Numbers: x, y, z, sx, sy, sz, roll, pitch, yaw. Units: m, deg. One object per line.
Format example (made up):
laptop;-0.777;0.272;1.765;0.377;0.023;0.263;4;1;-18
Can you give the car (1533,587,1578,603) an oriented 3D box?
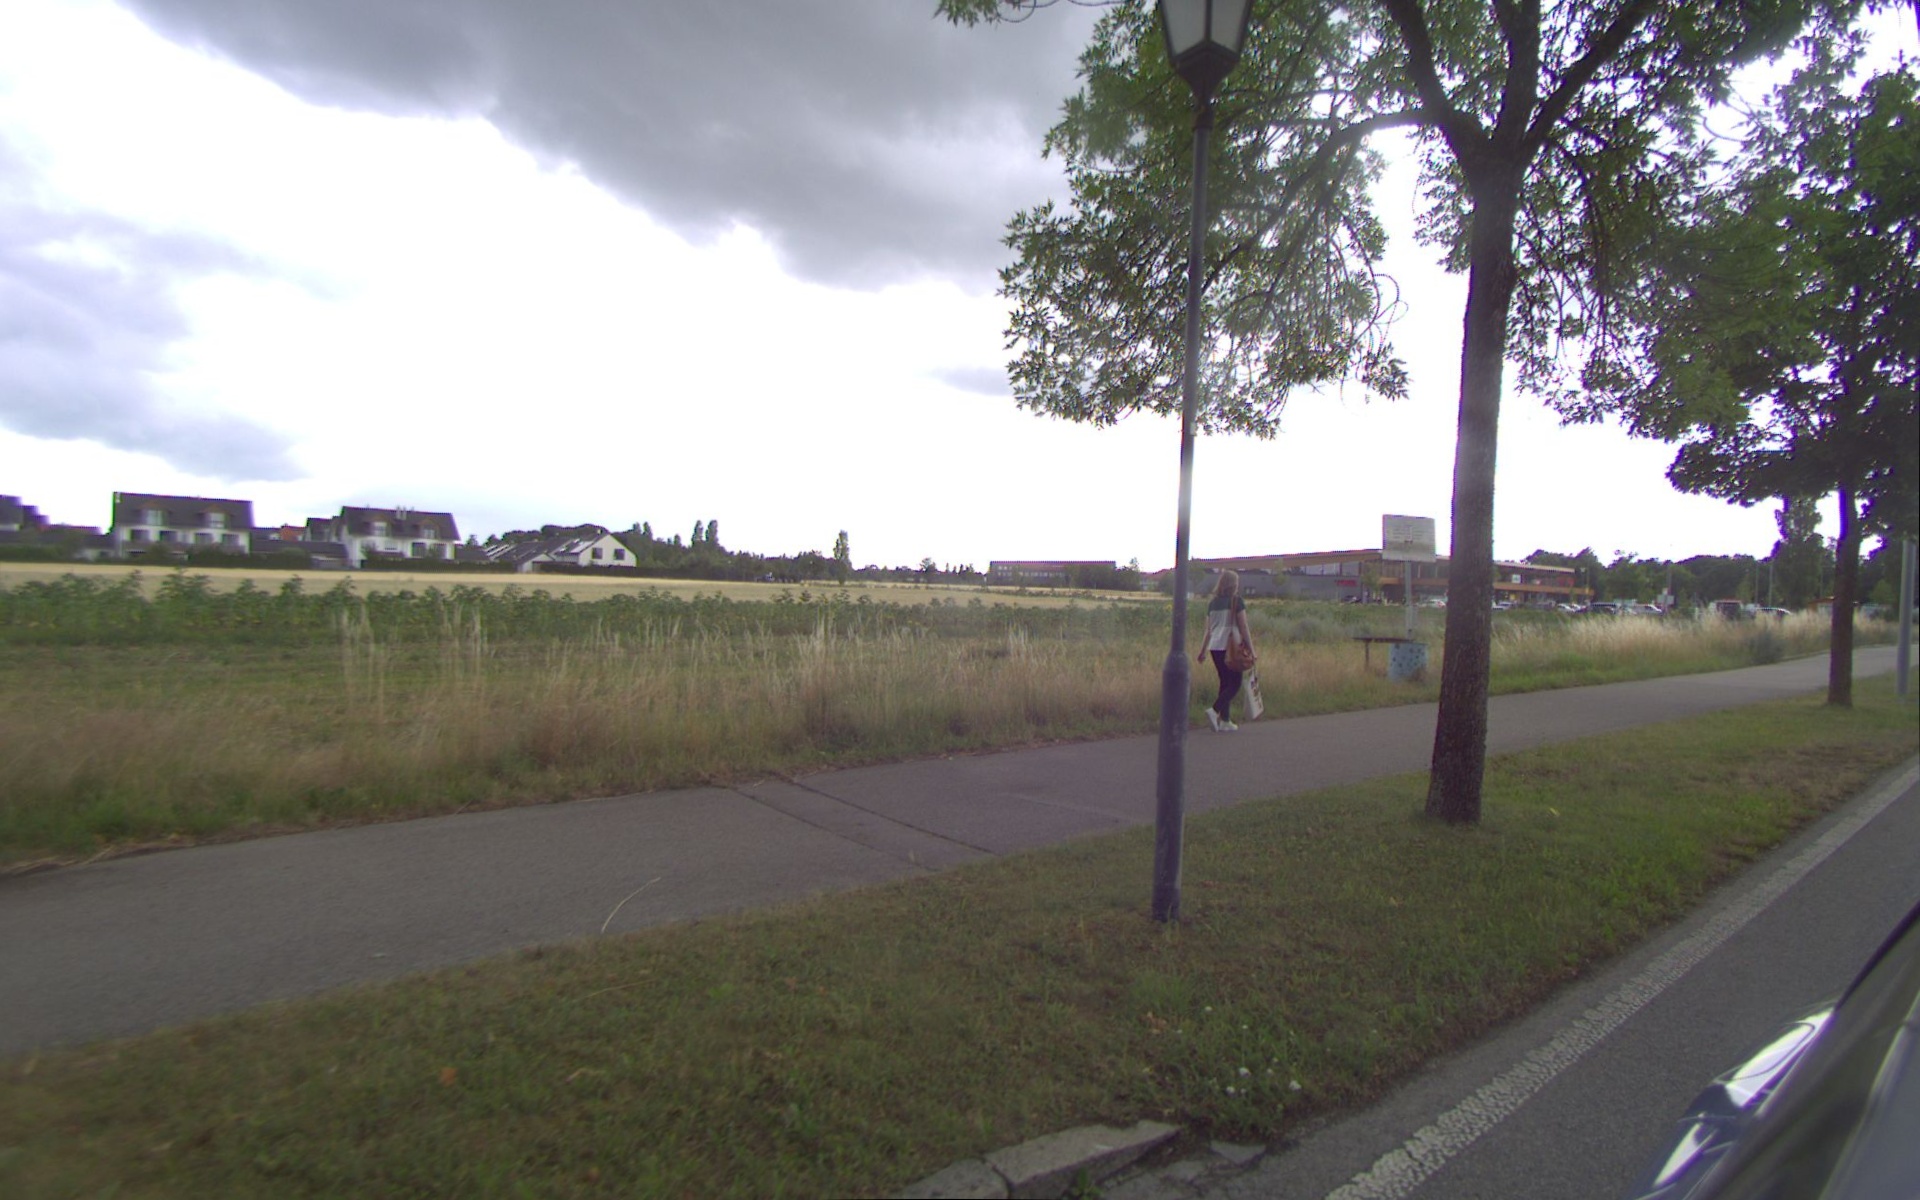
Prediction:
car;77.927;-0.590;132.459;4.842;2.039;1.968;0;0;44

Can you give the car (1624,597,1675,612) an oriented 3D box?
car;95.085;0.549;139.624;1.967;2.039;5.513;0;0;-45

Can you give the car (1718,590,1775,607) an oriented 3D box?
car;98.924;-0.165;127.316;1.967;2.039;5.513;0;0;-45

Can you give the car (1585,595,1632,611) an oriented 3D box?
car;83.620;0.333;130.483;4.842;2.039;1.968;0;0;44

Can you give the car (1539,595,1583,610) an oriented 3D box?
car;81.773;0.327;137.706;4.842;2.039;1.968;0;0;44

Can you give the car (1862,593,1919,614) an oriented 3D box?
car;91.664;0.362;98.632;1.967;2.039;5.513;0;0;-45

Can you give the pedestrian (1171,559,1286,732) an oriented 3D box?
pedestrian;2.906;0.459;10.965;0.853;1.777;0.840;1;0;-34
